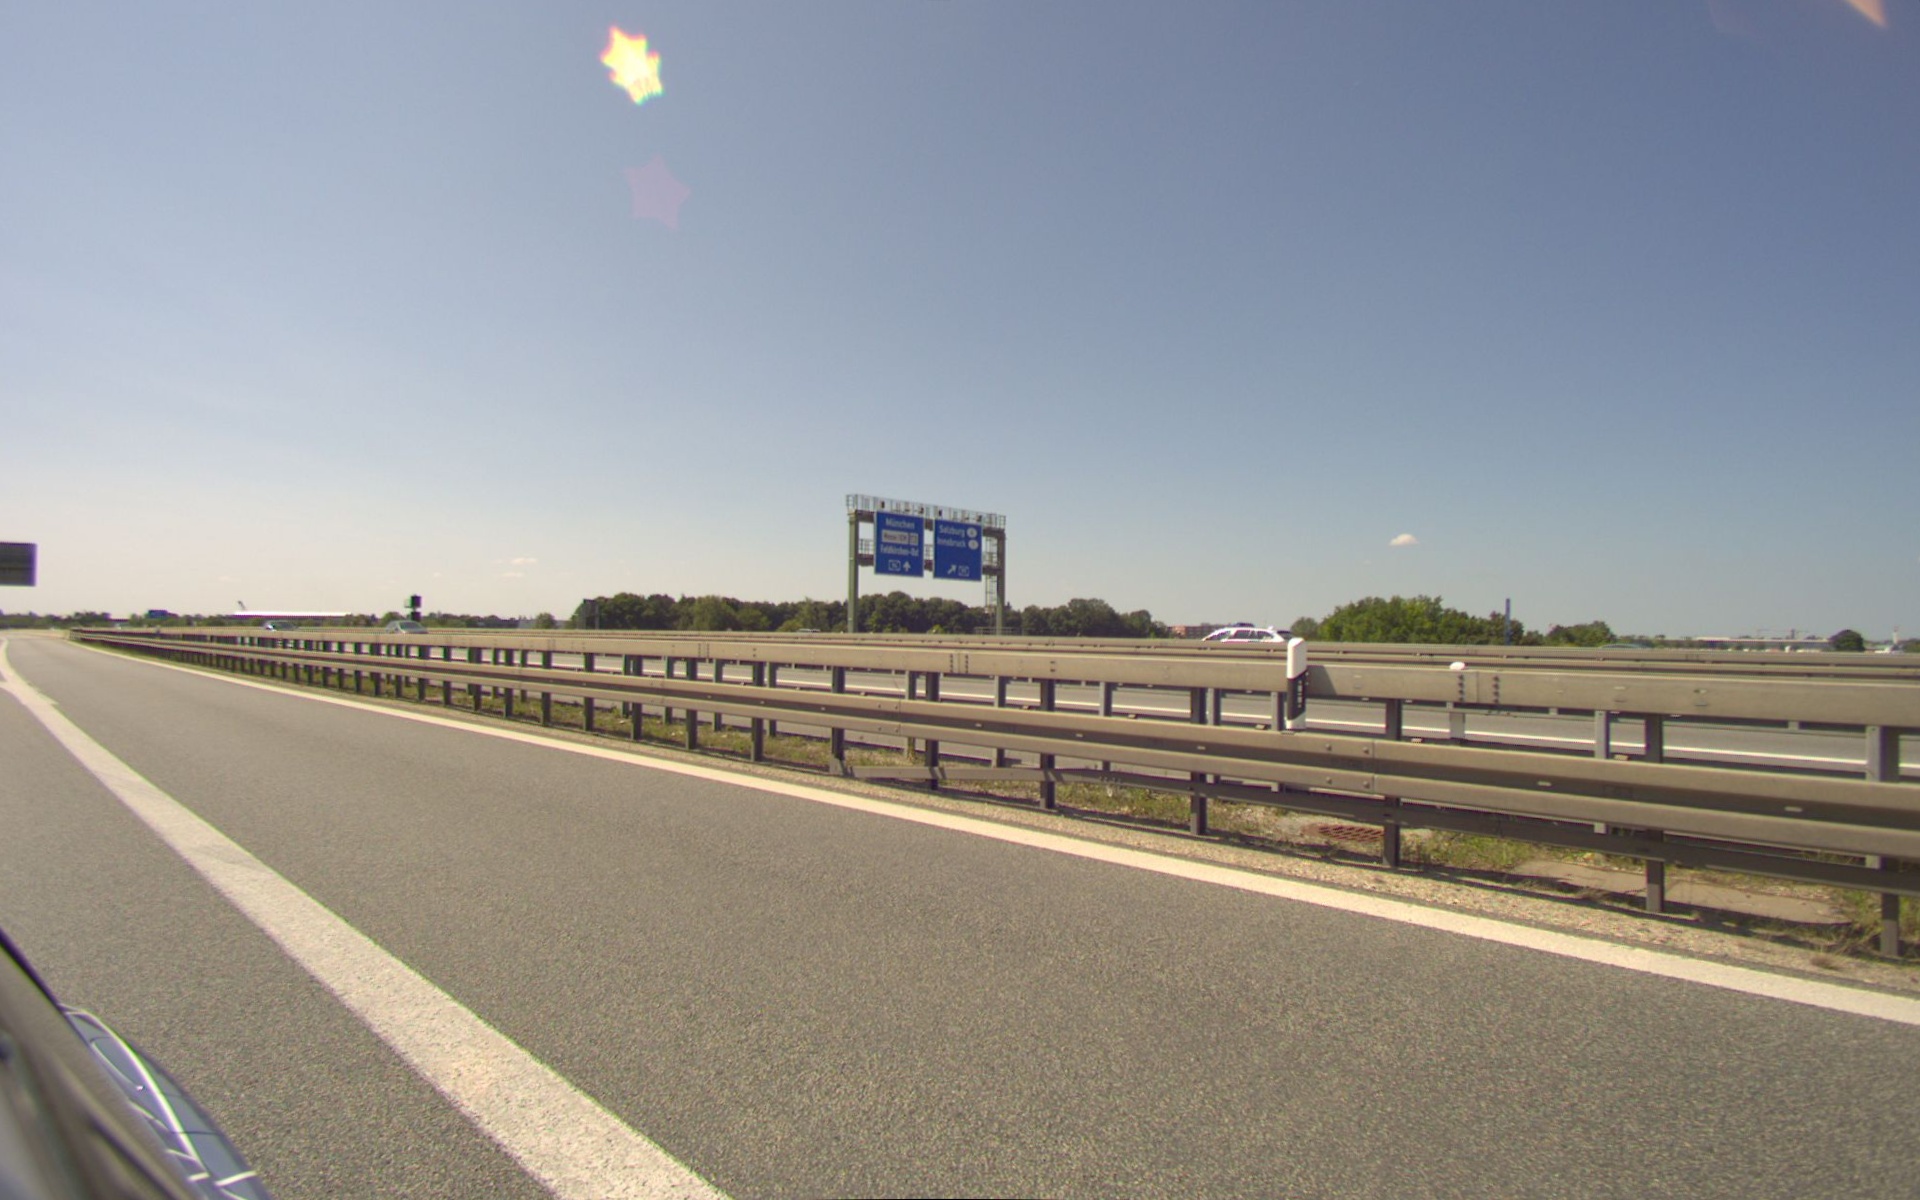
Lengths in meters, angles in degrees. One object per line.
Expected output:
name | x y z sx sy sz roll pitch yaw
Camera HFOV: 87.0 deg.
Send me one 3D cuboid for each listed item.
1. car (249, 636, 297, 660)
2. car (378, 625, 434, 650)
car | -45.899 3.196 67.616 4.218 1.443 1.809 -1 -1 44
car | -33.567 2.250 61.269 4.217 1.433 1.743 -1 -2 44
